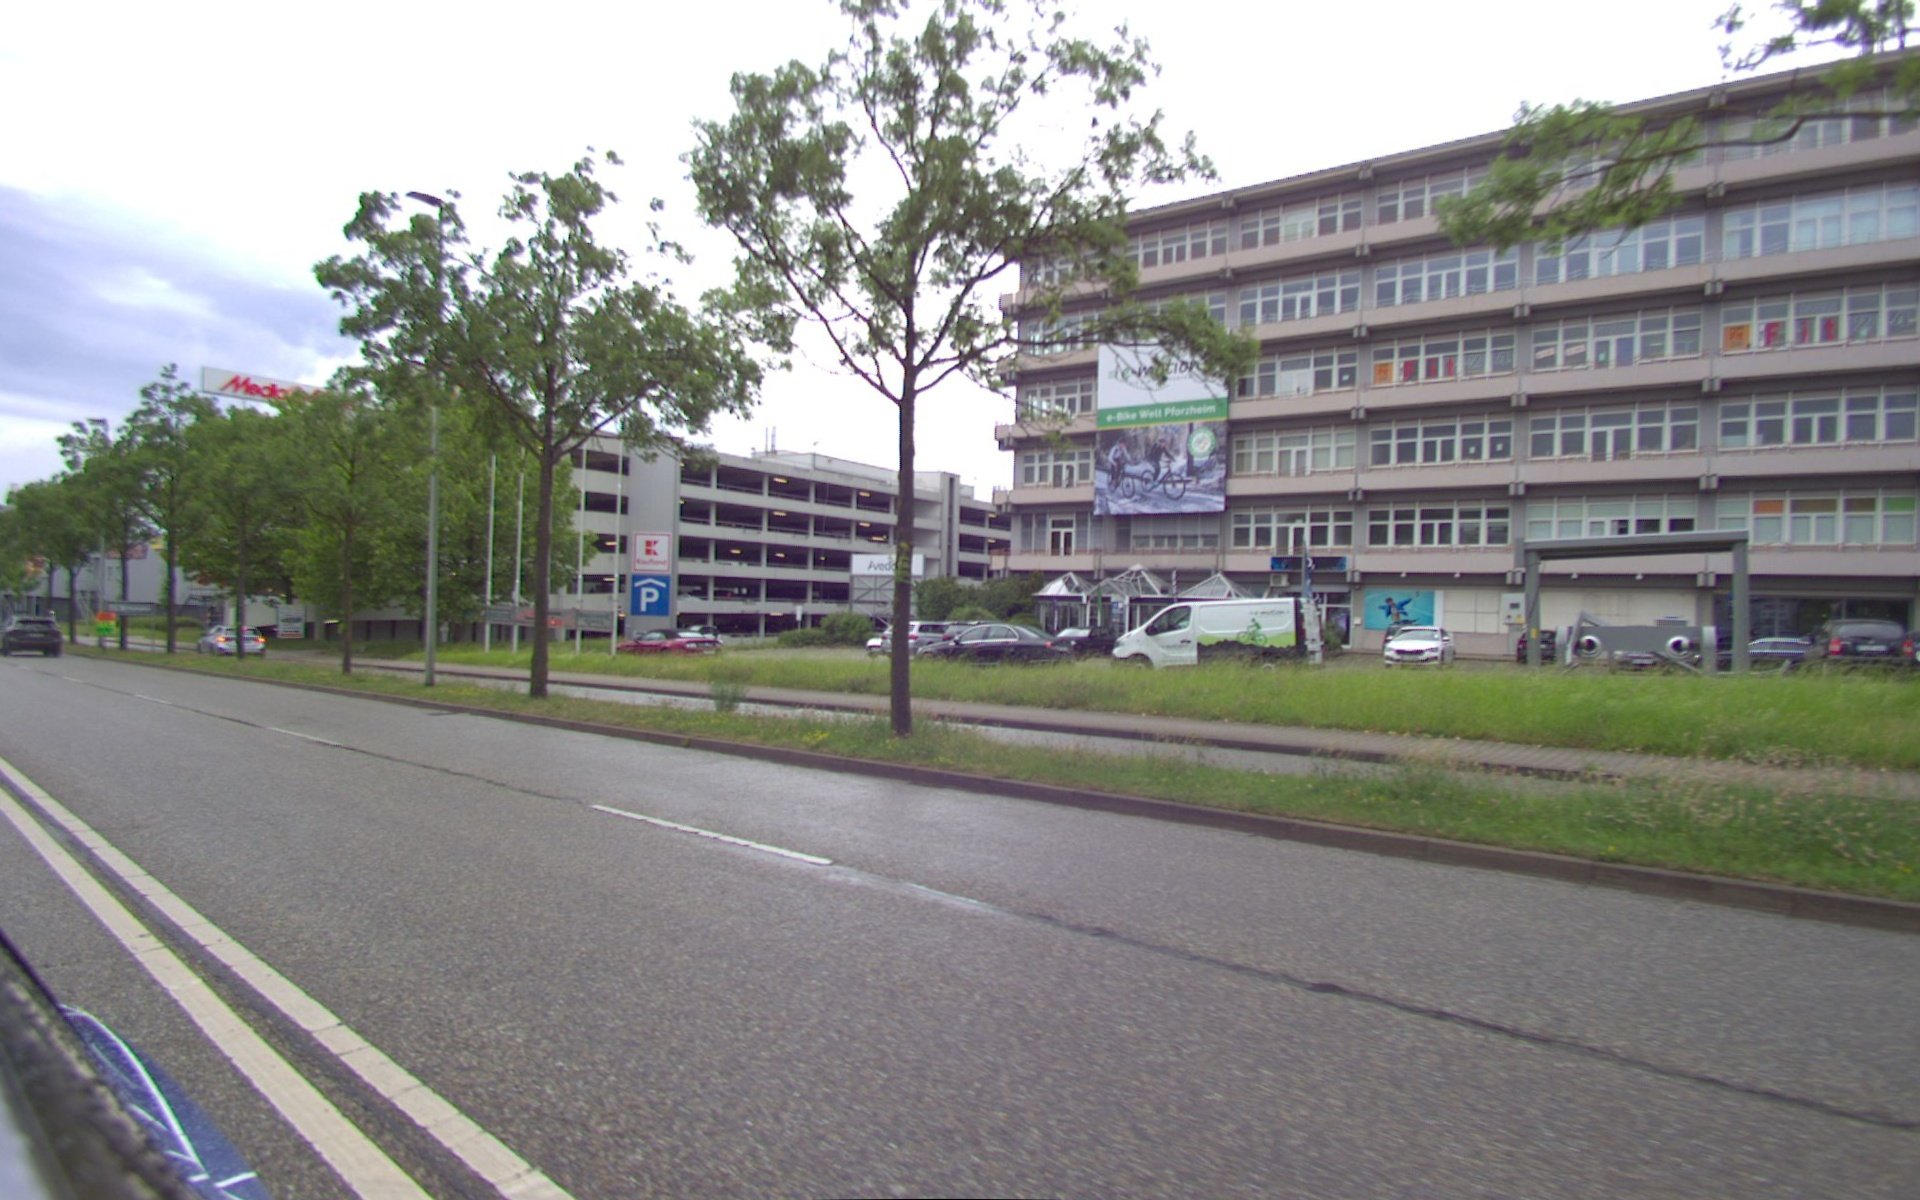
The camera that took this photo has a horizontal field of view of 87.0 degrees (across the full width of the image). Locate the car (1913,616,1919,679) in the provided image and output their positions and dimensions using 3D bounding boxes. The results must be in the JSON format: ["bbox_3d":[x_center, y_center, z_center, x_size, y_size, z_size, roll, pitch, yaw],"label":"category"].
[{"bbox_3d":[23.132,1.115,22.651,1.813,1.522,4.077,-3,-2,32],"label":"car"}]

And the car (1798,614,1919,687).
[{"bbox_3d":[21.383,1.147,23.930,1.813,1.522,4.077,-3,-2,32],"label":"car"}]

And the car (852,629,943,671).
[{"bbox_3d":[-2.790,2.252,46.230,1.959,1.759,4.568,-2,-2,29],"label":"car"}]

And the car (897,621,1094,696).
[{"bbox_3d":[0.856,1.522,26.719,4.938,1.775,2.020,-3,-2,38],"label":"car"}]

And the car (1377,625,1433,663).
[{"bbox_3d":[21.026,2.051,47.721,1.794,1.651,3.956,-3,-2,32],"label":"car"}]

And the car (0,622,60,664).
[{"bbox_3d":[-38.844,1.769,41.918,4.435,1.626,1.768,-1,-4,42],"label":"car"}]

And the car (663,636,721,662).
[{"bbox_3d":[-14.460,2.670,54.676,1.604,1.376,2.676,-2,-4,30],"label":"car"}]

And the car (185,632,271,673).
[{"bbox_3d":[-30.745,2.185,42.460,4.572,1.565,1.848,-1,-4,41],"label":"car"}]

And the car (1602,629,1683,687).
[{"bbox_3d":[20.592,1.718,30.675,1.841,1.522,4.242,-3,-2,32],"label":"car"}]

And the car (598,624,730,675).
[{"bbox_3d":[-10.340,1.714,35.225,4.701,1.621,1.916,-3,-2,36],"label":"car"}]

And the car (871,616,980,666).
[{"bbox_3d":[-1.241,1.537,39.076,1.961,1.759,4.563,-3,-2,32],"label":"car"}]

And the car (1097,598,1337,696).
[{"bbox_3d":[6.069,1.122,24.116,5.105,2.112,2.098,-3,-2,32],"label":"car"}]

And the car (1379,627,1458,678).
[{"bbox_3d":[15.524,1.743,34.171,1.841,1.522,4.242,-3,-2,32],"label":"car"}]

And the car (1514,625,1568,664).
[{"bbox_3d":[25.382,1.902,44.147,1.841,1.522,4.242,-3,-2,32],"label":"car"}]

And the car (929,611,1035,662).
[{"bbox_3d":[0.880,1.316,37.561,1.894,1.759,4.464,-3,-2,32],"label":"car"}]

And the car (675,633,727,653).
[{"bbox_3d":[-20.774,3.412,81.407,3.787,1.473,1.754,-1,0,-3],"label":"car"}]

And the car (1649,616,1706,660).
[{"bbox_3d":[30.598,1.597,43.251,1.795,1.745,3.954,-3,-2,34],"label":"car"}]

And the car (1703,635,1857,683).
[{"bbox_3d":[28.604,2.064,35.491,3.990,1.522,1.779,-3,-2,35],"label":"car"}]

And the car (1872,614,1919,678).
[{"bbox_3d":[25.527,1.147,26.428,1.813,1.522,4.077,-3,-2,32],"label":"car"}]
